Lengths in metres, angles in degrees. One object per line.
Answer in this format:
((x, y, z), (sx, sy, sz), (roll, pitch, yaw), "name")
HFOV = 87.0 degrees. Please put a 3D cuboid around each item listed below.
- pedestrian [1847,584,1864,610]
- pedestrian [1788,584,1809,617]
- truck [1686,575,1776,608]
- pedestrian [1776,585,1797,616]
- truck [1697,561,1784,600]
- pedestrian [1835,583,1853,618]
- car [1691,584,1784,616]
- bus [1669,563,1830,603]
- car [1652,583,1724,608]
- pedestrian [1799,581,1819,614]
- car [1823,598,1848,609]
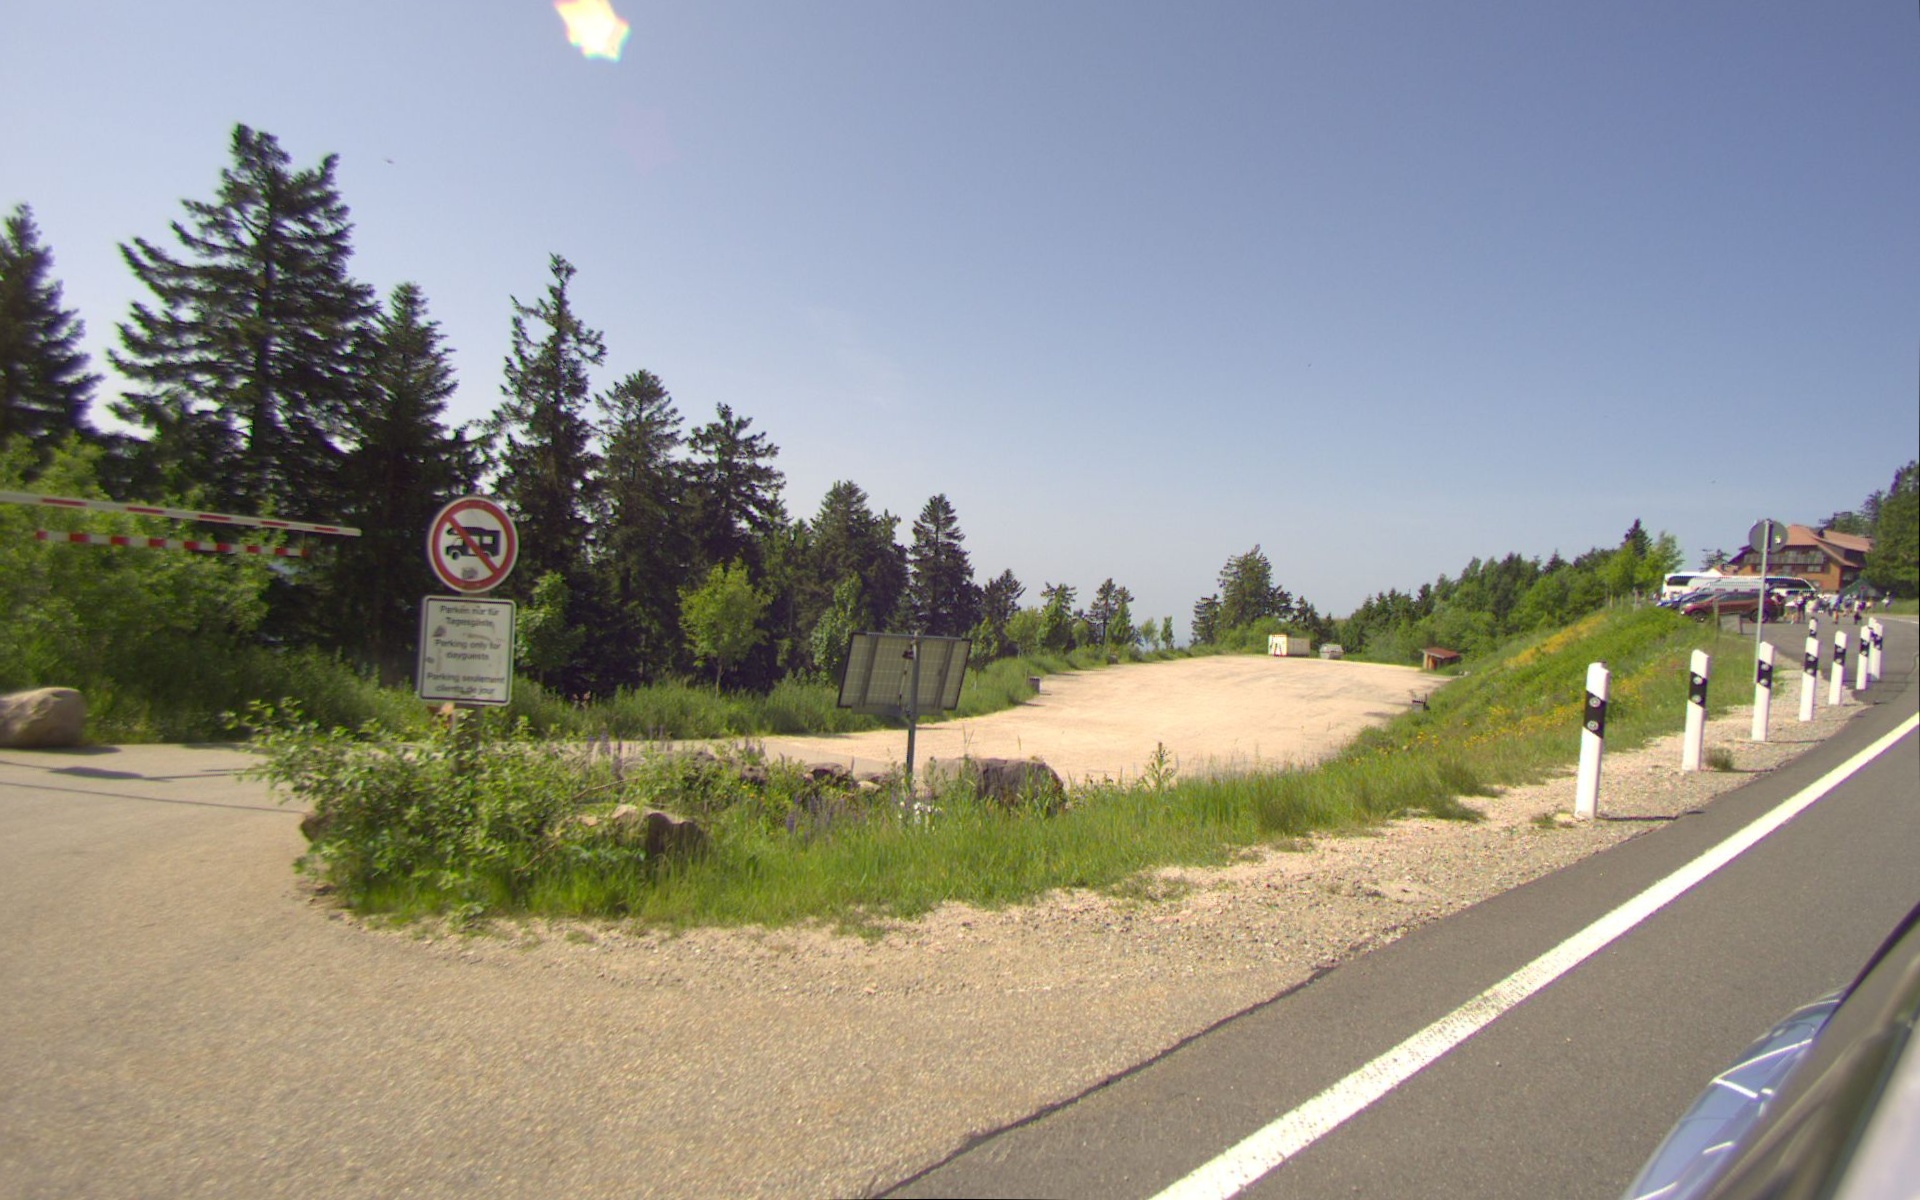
((63.846, -0.209, 72.159), (0.761, 1.782, 0.755), (1, 1, -39), "pedestrian")
((43.482, 0.015, 52.465), (0.675, 1.681, 0.654), (3, 1, -39), "pedestrian")
((69.140, -0.761, 90.916), (6.249, 2.623, 2.308), (3, 2, 38), "truck")
((43.864, 0.039, 53.695), (0.721, 1.607, 0.619), (3, 1, -33), "pedestrian")
((71.704, -1.817, 93.141), (6.046, 3.235, 2.500), (3, 2, 35), "truck")
((45.549, 0.027, 52.161), (0.617, 1.797, 0.712), (2, 1, 45), "pedestrian")
((41.418, -0.012, 54.042), (3.802, 1.681, 1.633), (0, 0, 34), "car")
((81.325, -1.805, 104.692), (12.825, 3.621, 2.799), (4, 2, 39), "bus")
((50.312, -0.334, 70.066), (3.973, 1.668, 1.581), (0, 0, 35), "car")
((44.756, -0.147, 53.338), (0.716, 1.713, 0.609), (2, 1, 45), "pedestrian")
((137.855, 0.557, 159.333), (3.069, 1.572, 1.719), (2, 1, -24), "car")
